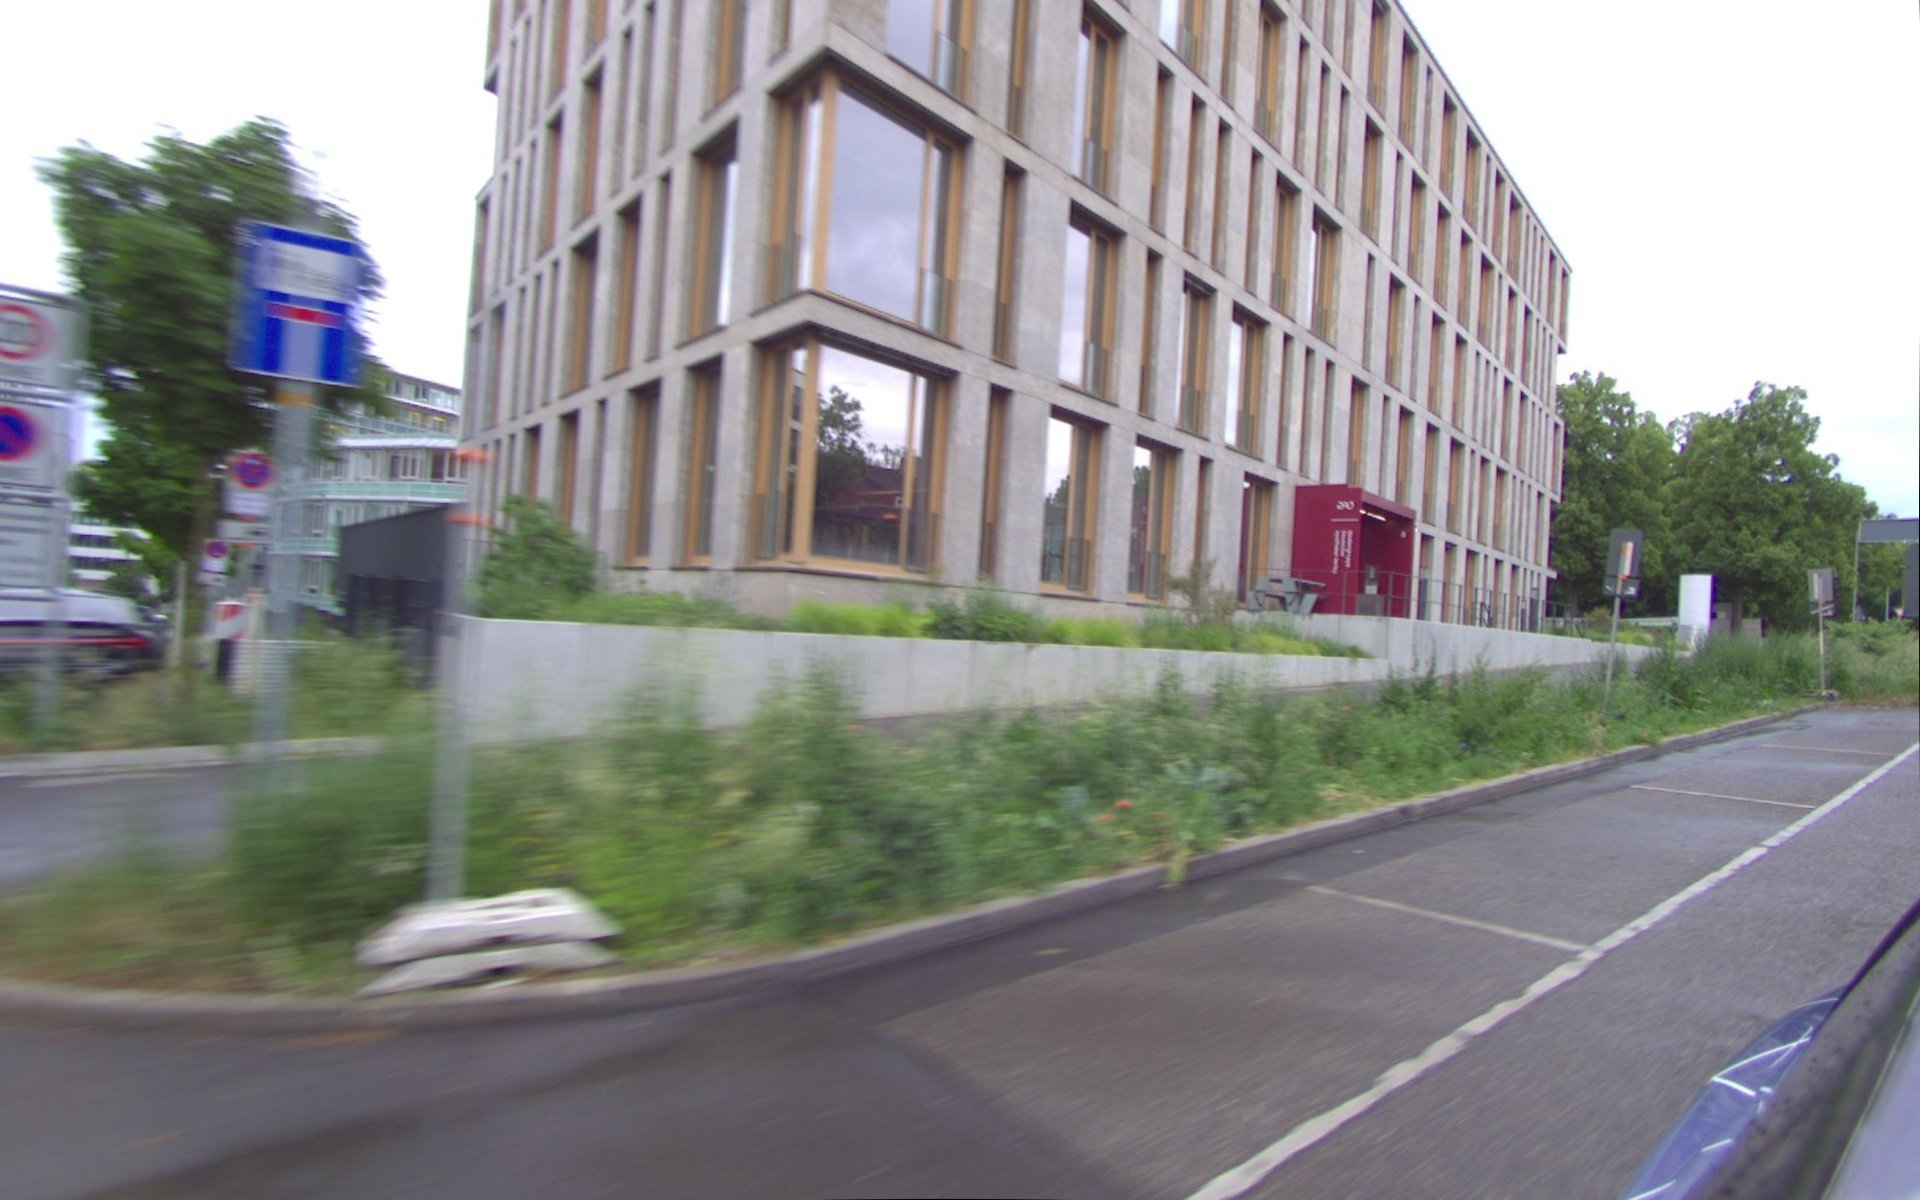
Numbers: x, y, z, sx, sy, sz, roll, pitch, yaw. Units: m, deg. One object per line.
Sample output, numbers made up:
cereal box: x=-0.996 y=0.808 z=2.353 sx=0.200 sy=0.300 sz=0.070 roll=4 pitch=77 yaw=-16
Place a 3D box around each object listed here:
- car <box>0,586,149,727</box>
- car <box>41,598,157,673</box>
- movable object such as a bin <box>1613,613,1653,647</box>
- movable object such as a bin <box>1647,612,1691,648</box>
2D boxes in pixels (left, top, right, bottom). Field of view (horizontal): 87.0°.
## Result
car: x=-9.772 y=0.526 z=10.772 sx=1.698 sy=1.261 sz=4.237 roll=1 pitch=-1 yaw=-40
car: x=-19.753 y=0.772 z=23.355 sx=1.824 sy=1.552 sz=3.840 roll=2 pitch=-1 yaw=-38
movable object such as a bin: x=29.469 y=1.319 z=44.331 sx=1.129 sy=1.418 sz=1.099 roll=1 pitch=-3 yaw=-39
movable object such as a bin: x=30.414 y=1.293 z=43.420 sx=1.091 sy=1.477 sz=1.249 roll=1 pitch=-3 yaw=-38
